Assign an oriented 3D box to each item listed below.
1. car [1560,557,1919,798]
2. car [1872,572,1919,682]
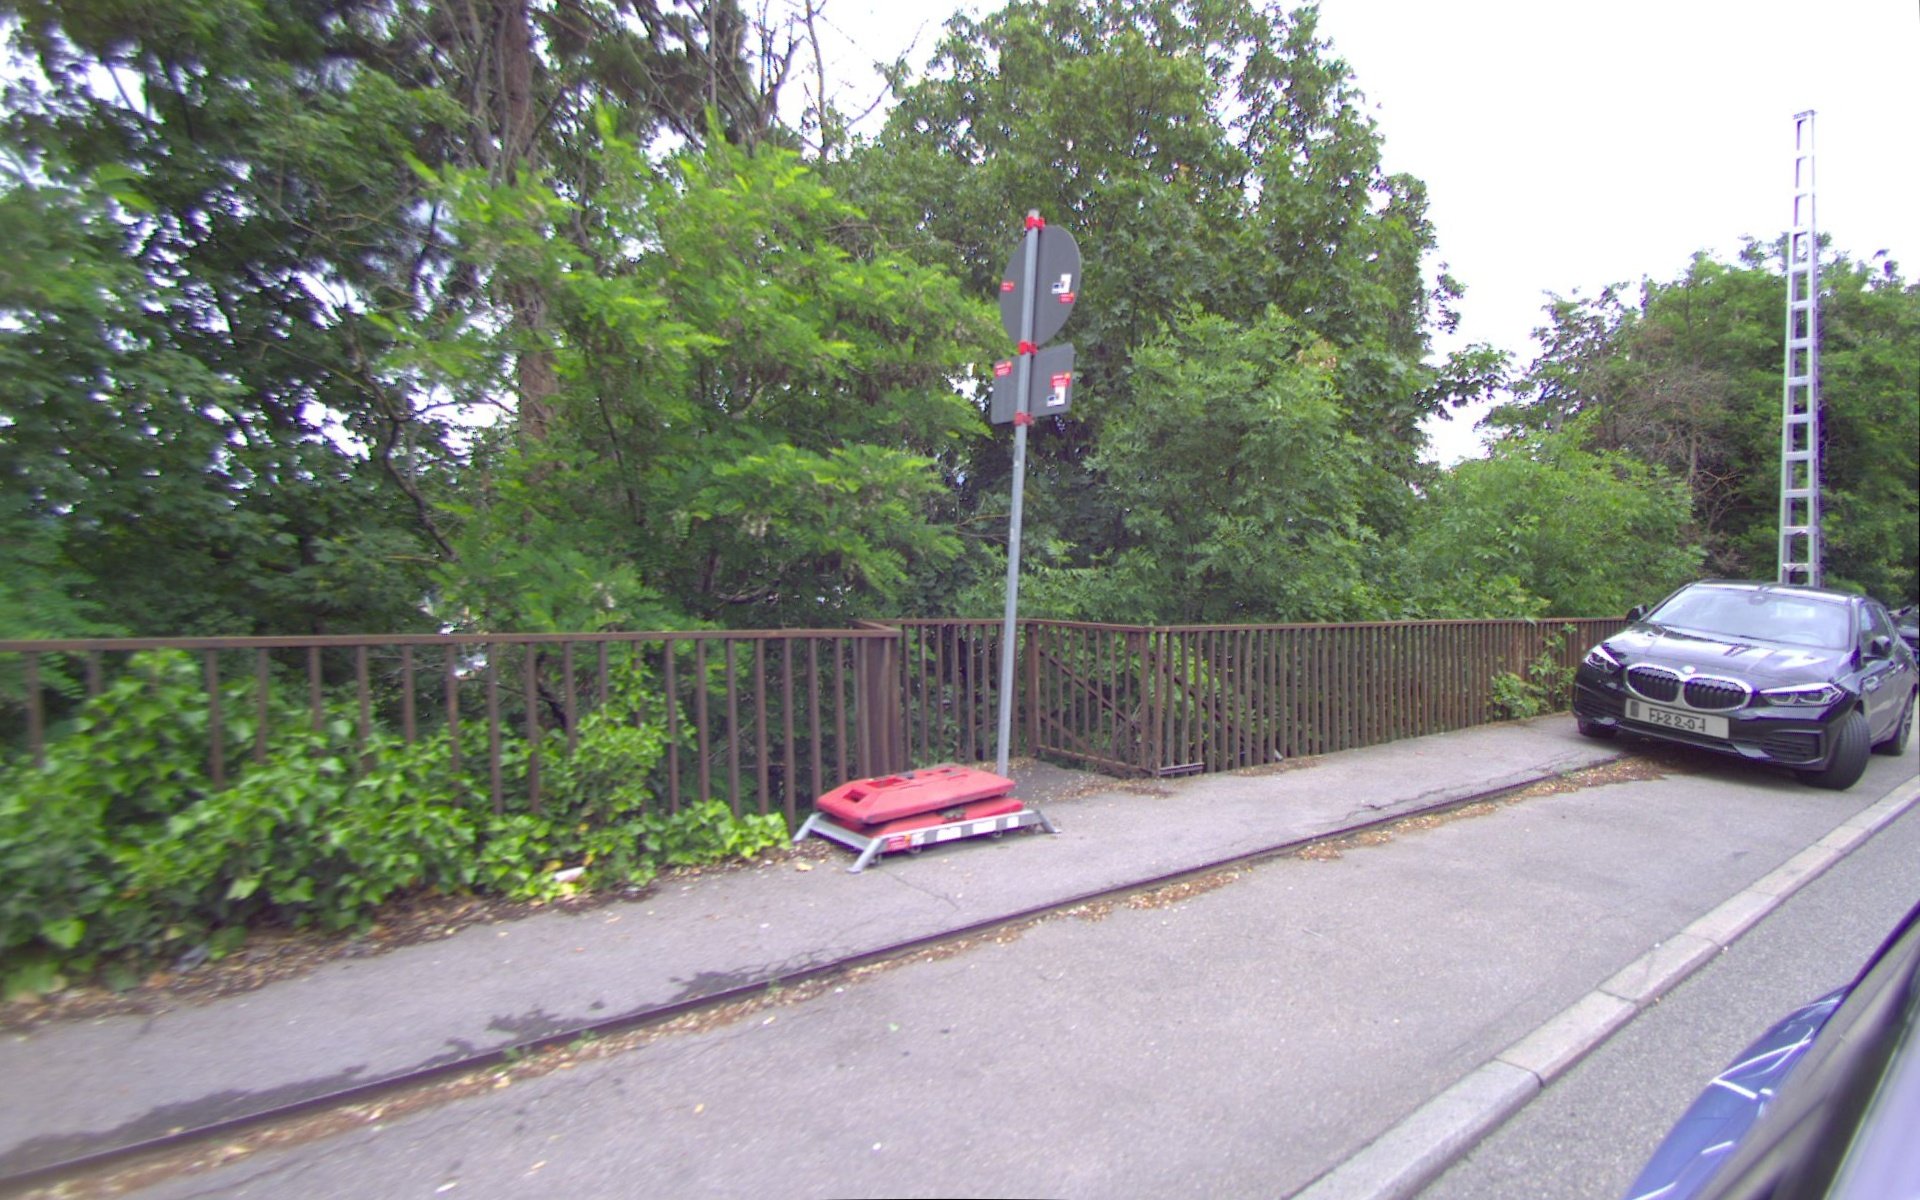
[{"bbox_3d":[7.114,0.491,8.758,4.156,1.452,1.860,0,6,-39],"label":"car"},{"bbox_3d":[15.776,0.439,15.280,4.149,1.552,1.862,0,4,-33],"label":"car"}]
